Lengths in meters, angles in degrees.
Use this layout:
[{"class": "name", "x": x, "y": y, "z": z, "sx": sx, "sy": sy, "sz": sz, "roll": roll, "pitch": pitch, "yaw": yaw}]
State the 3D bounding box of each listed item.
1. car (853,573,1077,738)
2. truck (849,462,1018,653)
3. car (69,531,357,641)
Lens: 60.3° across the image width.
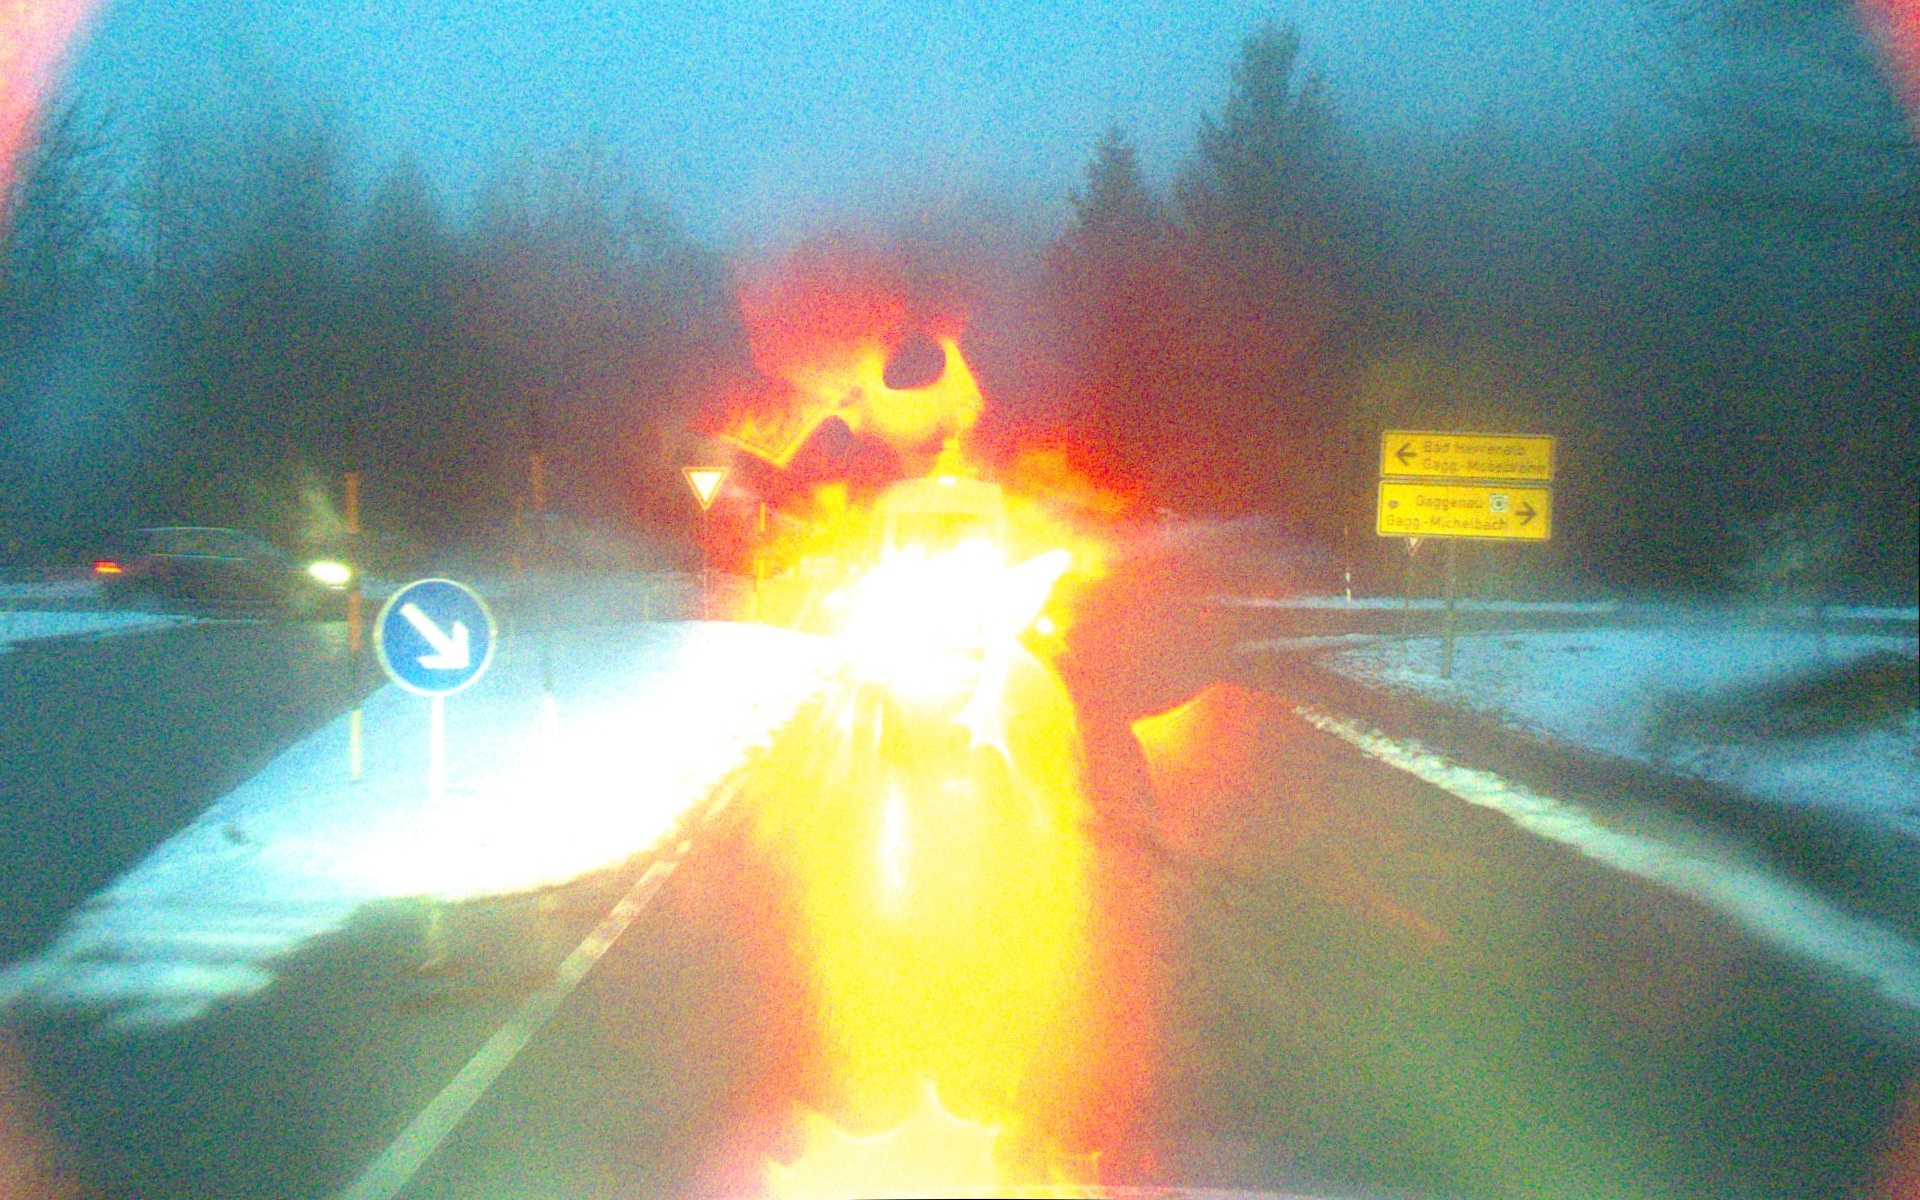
[{"class": "car", "x": 0.002, "y": 0.441, "z": 16.163, "sx": 1.883, "sy": 1.299, "sz": 4.000, "roll": 2, "pitch": 2, "yaw": -1}, {"class": "truck", "x": -0.571, "y": -0.670, "z": 27.501, "sx": 2.037, "sy": 2.793, "sz": 5.309, "roll": 2, "pitch": 1, "yaw": -9}, {"class": "car", "x": -14.765, "y": -0.271, "z": 32.968, "sx": 4.916, "sy": 1.979, "sz": 1.680, "roll": 2, "pitch": 0, "yaw": -13}]
